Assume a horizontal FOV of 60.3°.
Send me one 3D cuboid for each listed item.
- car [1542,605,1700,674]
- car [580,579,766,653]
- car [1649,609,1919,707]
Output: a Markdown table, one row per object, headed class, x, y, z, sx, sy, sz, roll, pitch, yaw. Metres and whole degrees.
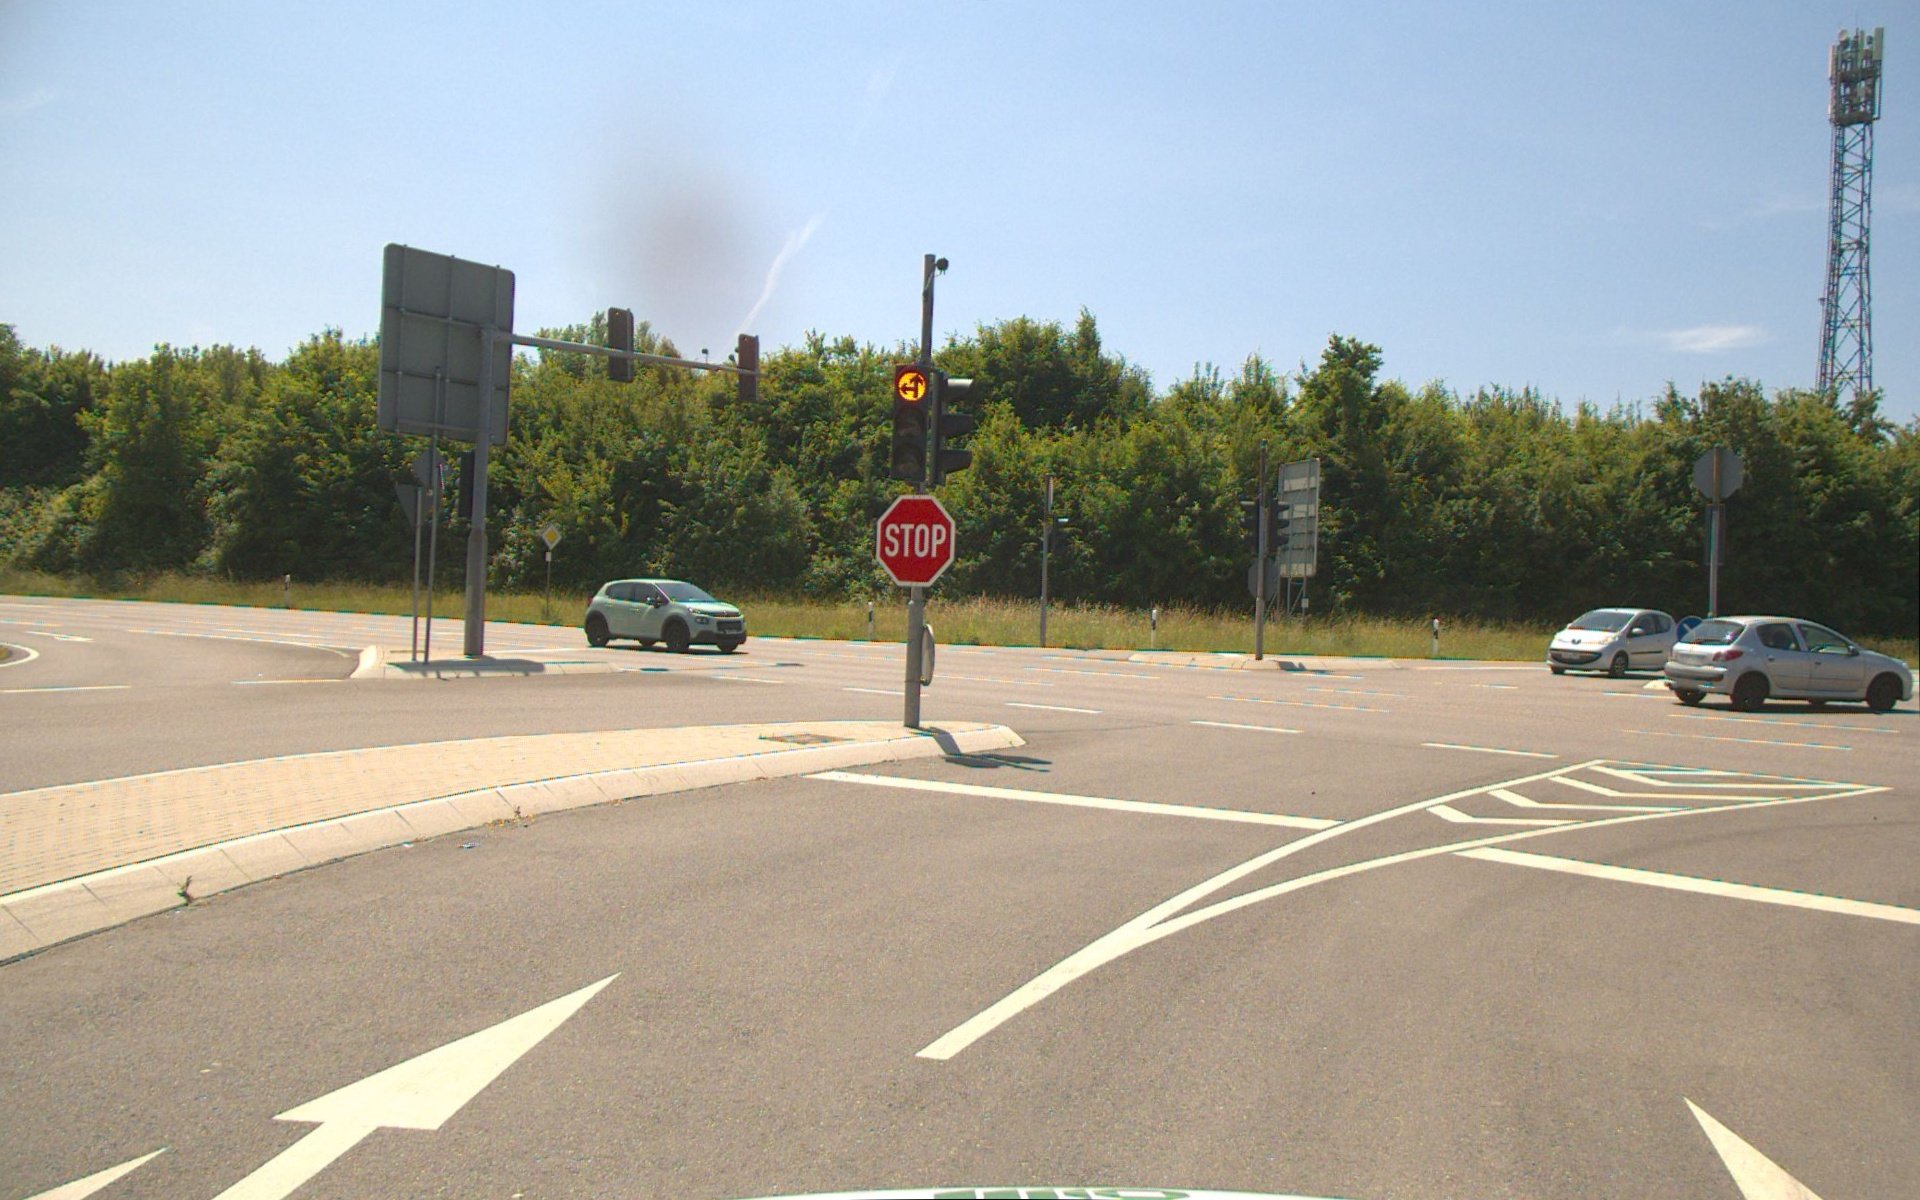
| class | x | y | z | sx | sy | sz | roll | pitch | yaw |
| --- | --- | --- | --- | --- | --- | --- | --- | --- | --- |
| car | 14.341 | 0.830 | 35.842 | 3.491 | 1.394 | 1.551 | 1 | 1 | -36 |
| car | -6.233 | 0.303 | 35.764 | 3.906 | 1.428 | 1.729 | 2 | 2 | 35 |
| car | 13.262 | 0.909 | 26.515 | 3.702 | 1.438 | 1.814 | 1 | 1 | -10 |
